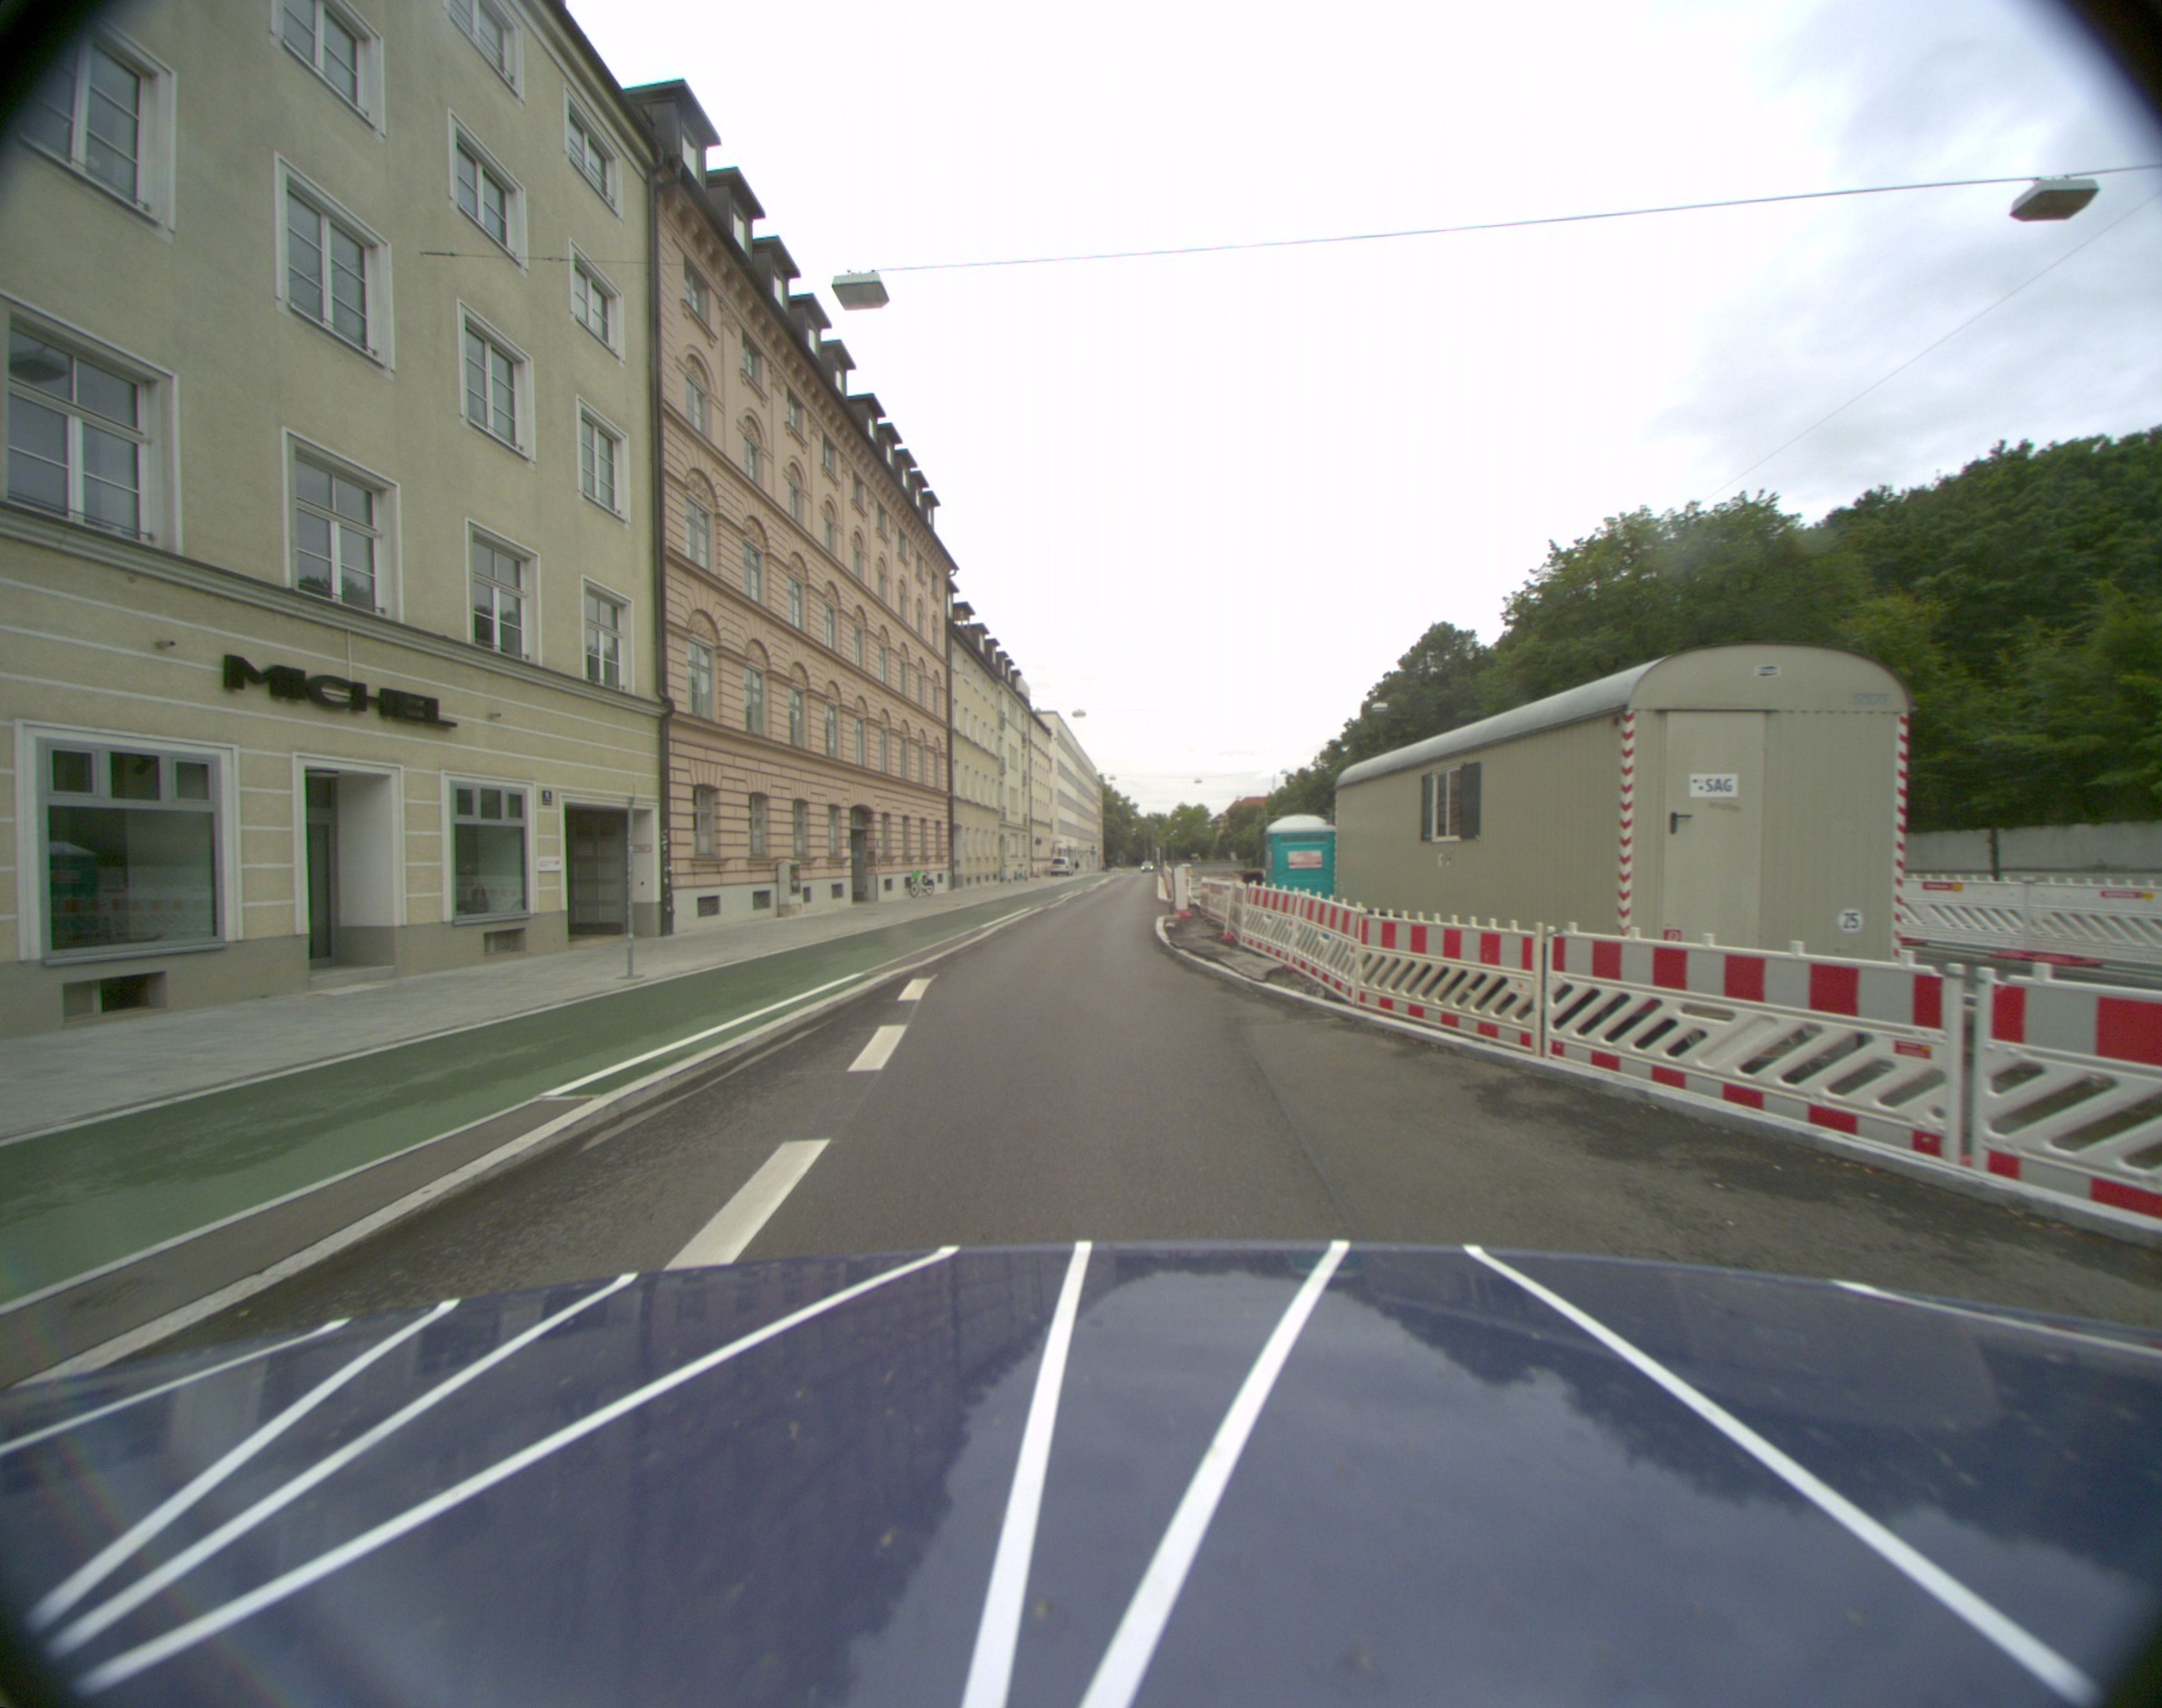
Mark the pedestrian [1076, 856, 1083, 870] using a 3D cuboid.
[{"bbox_3d":[-0.195,1.065,89.926,0.666,1.626,0.737,-1,0,6],"label":"pedestrian"}]

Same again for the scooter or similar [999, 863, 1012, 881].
[{"bbox_3d":[-5.086,1.198,51.408,0.246,1.224,1.122,2,1,31],"label":"scooter or similar"}]

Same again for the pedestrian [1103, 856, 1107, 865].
[{"bbox_3d":[4.404,1.256,138.653,0.753,1.610,0.704,-1,0,6],"label":"pedestrian"}]

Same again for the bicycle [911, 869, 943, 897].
[{"bbox_3d":[-6.699,1.246,33.095,0.426,1.167,1.734,0,0,23],"label":"bicycle"}]

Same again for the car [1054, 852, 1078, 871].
[{"bbox_3d":[-1.420,0.730,73.823,1.737,1.739,4.437,0,0,6],"label":"car"}]

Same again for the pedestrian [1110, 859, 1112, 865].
[{"bbox_3d":[5.362,1.441,137.219,0.367,1.239,0.470,-1,0,6],"label":"pedestrian"}]

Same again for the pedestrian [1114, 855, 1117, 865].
[{"bbox_3d":[6.237,1.048,137.257,0.514,1.825,0.602,-1,0,6],"label":"pedestrian"}]

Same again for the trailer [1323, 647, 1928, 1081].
[{"bbox_3d":[5.287,0.091,9.464,2.232,3.224,7.519,-1,0,1],"label":"trailer"}]

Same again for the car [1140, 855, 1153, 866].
[{"bbox_3d":[10.801,1.005,125.071,1.998,1.738,4.001,-1,0,4],"label":"car"}]

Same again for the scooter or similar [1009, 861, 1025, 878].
[{"bbox_3d":[-4.721,1.140,56.237,1.121,1.224,0.246,0,1,-27],"label":"scooter or similar"}]
